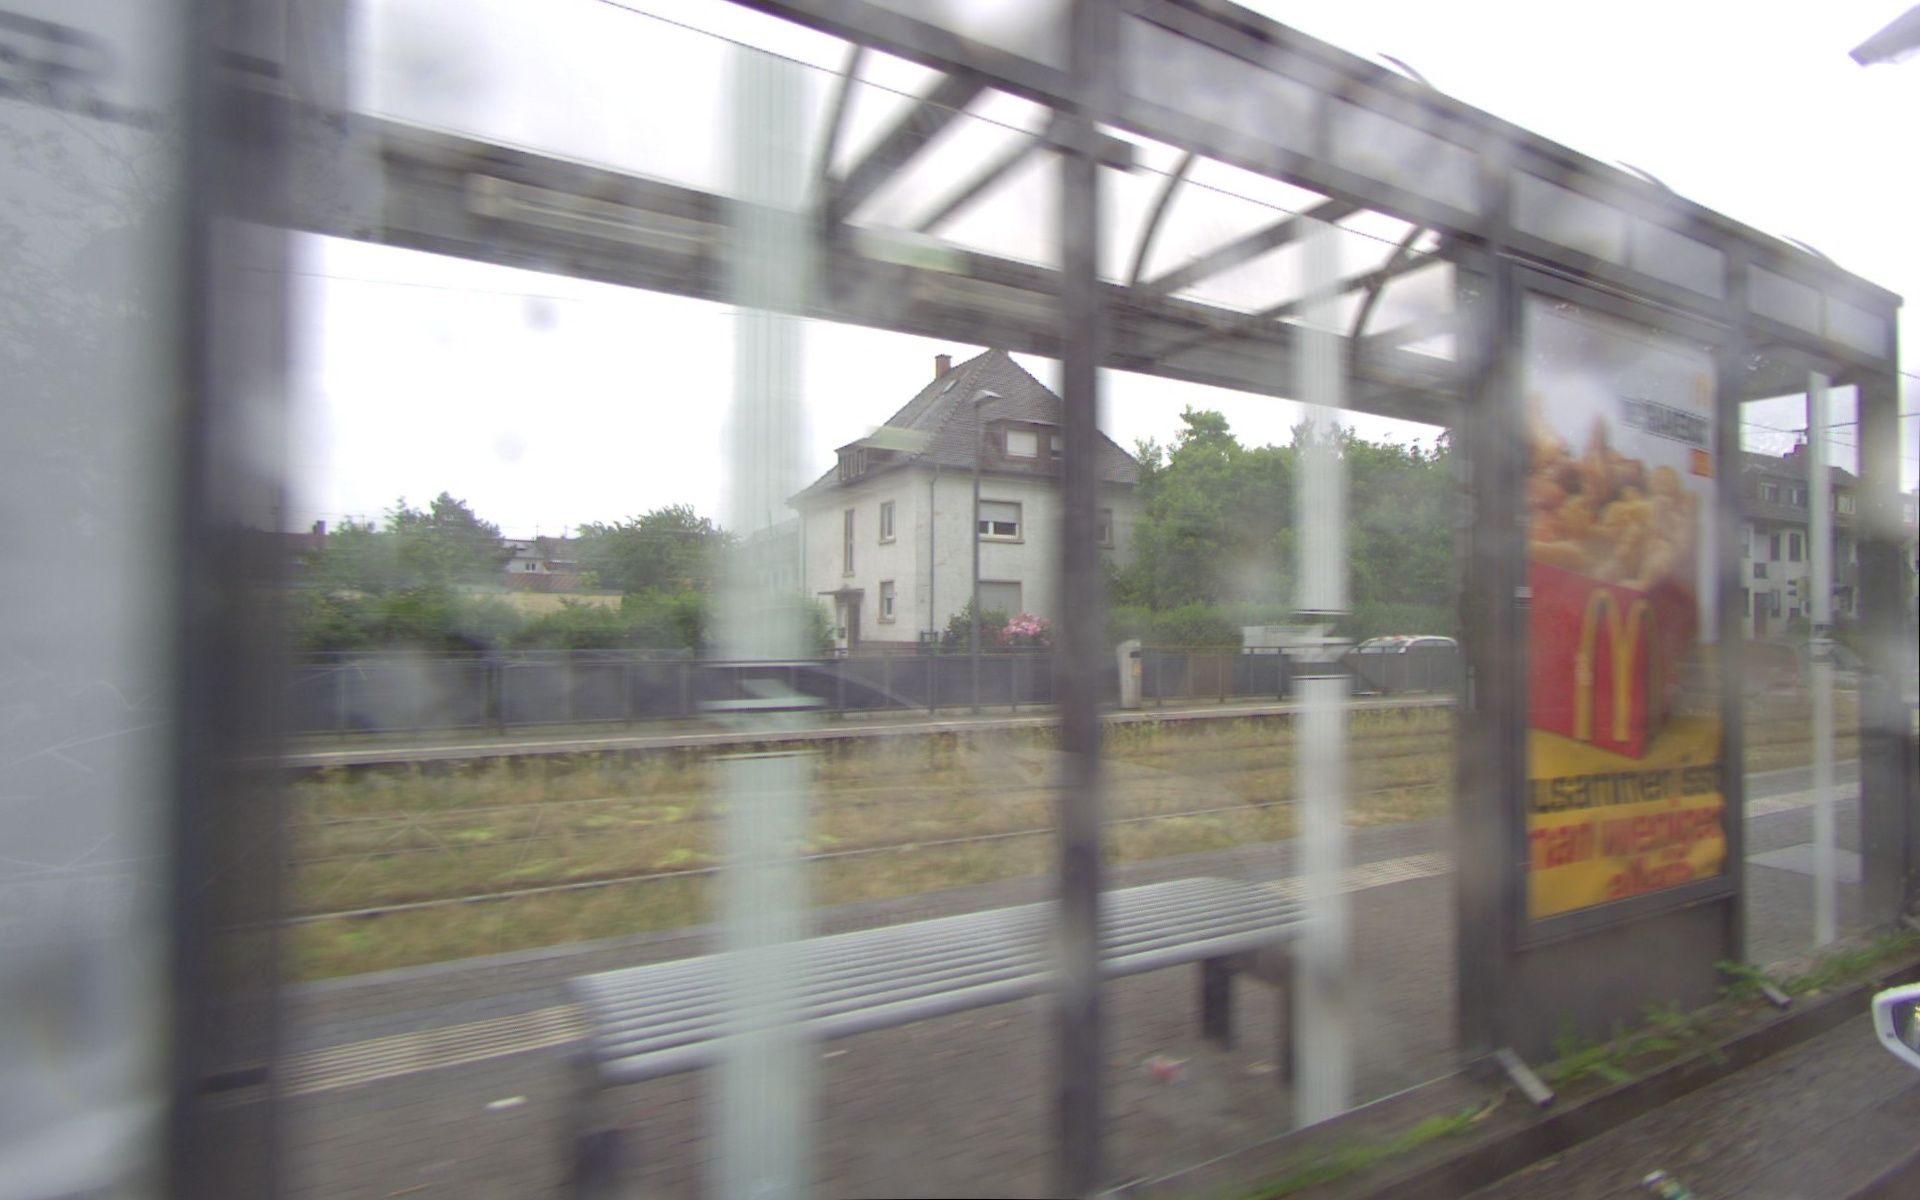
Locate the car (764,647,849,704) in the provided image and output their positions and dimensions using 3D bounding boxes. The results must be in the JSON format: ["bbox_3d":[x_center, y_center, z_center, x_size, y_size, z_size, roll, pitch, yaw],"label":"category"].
[{"bbox_3d":[-5.715,2.740,37.043,1.974,1.840,3.974,2,-1,-26],"label":"car"}]

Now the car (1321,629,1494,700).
[{"bbox_3d":[10.434,1.482,23.372,3.951,1.513,1.626,2,-1,-29],"label":"car"}]
